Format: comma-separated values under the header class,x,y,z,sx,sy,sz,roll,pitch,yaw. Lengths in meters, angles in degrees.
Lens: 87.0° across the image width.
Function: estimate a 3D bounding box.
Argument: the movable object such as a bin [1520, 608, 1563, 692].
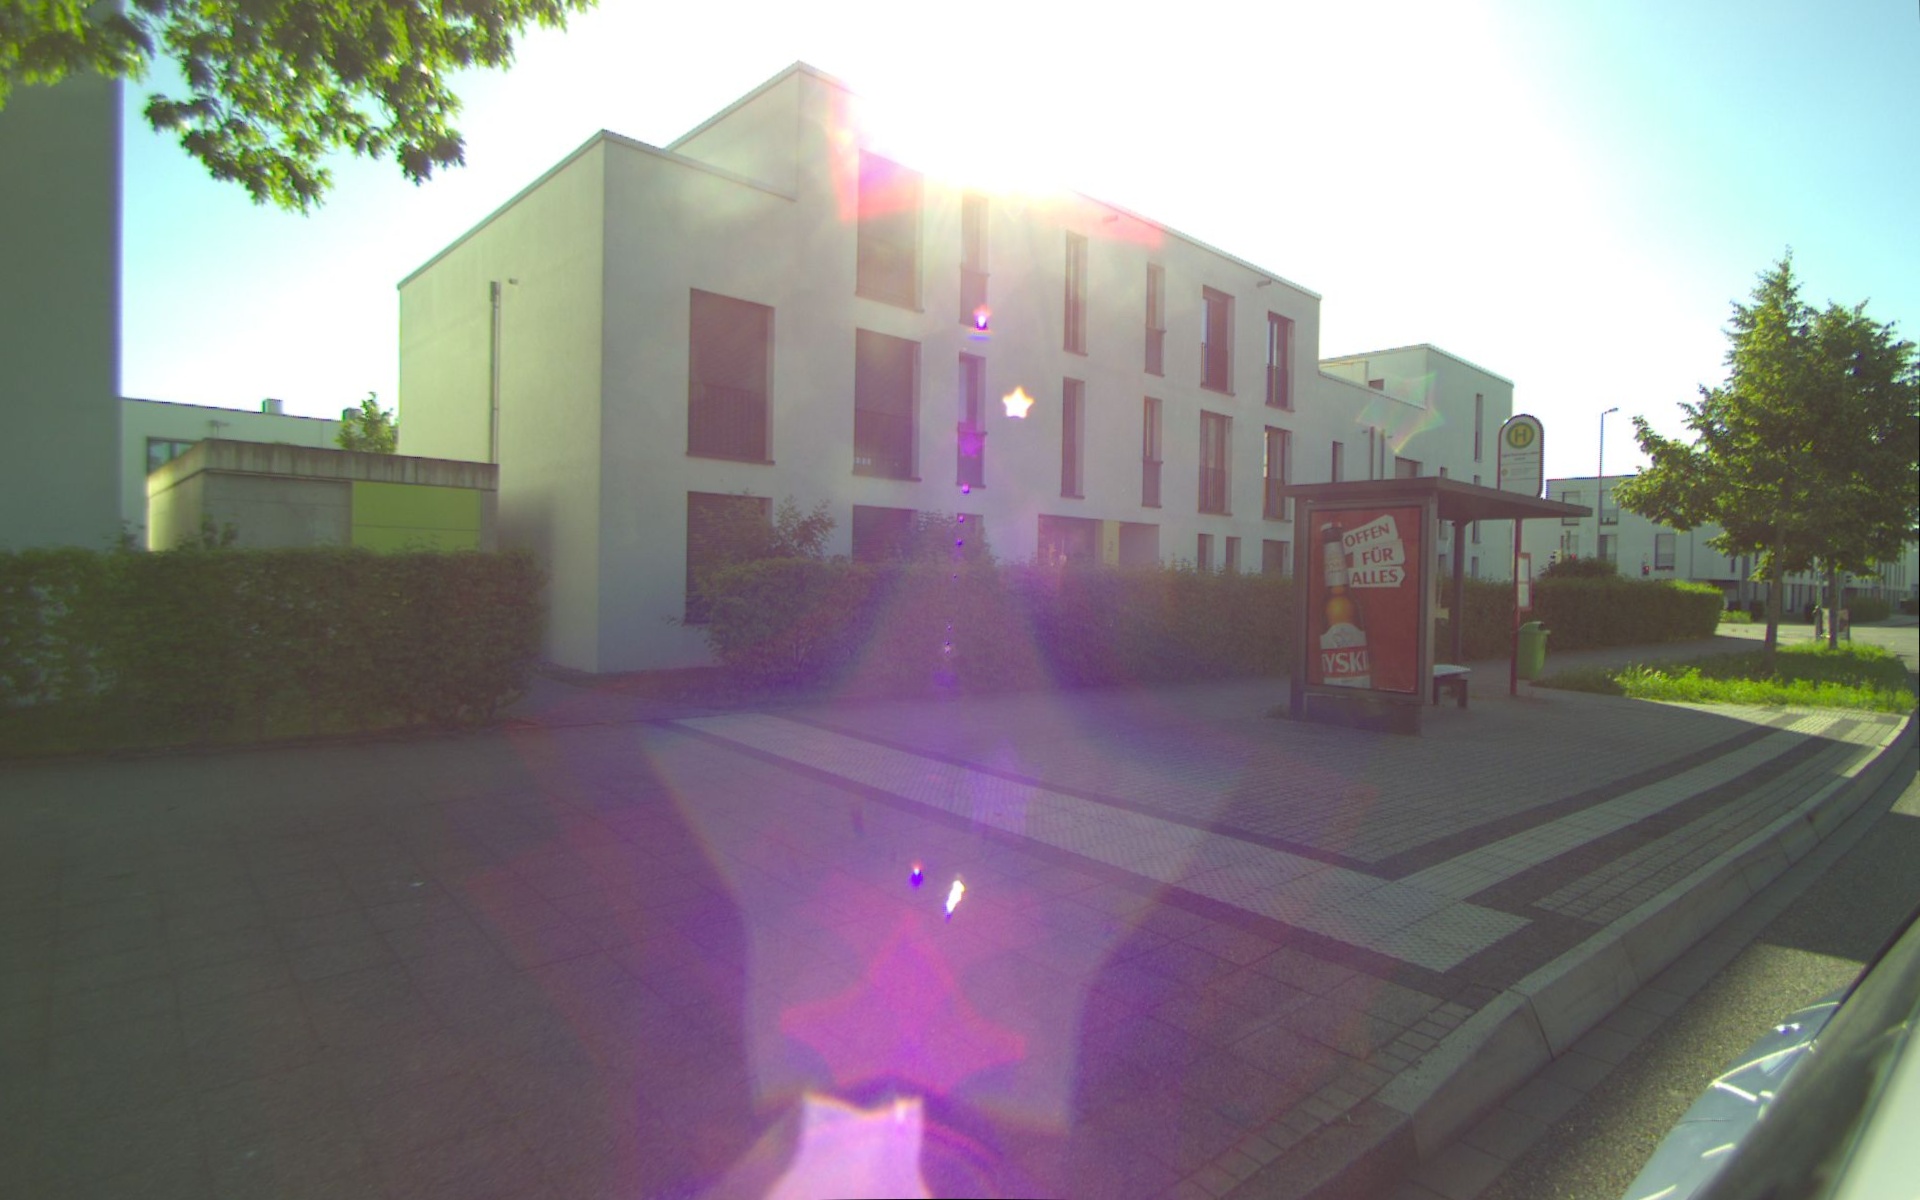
class,x,y,z,sx,sy,sz,roll,pitch,yaw
movable object such as a bin,7.393,0.624,12.864,0.368,1.029,0.591,2,1,39
